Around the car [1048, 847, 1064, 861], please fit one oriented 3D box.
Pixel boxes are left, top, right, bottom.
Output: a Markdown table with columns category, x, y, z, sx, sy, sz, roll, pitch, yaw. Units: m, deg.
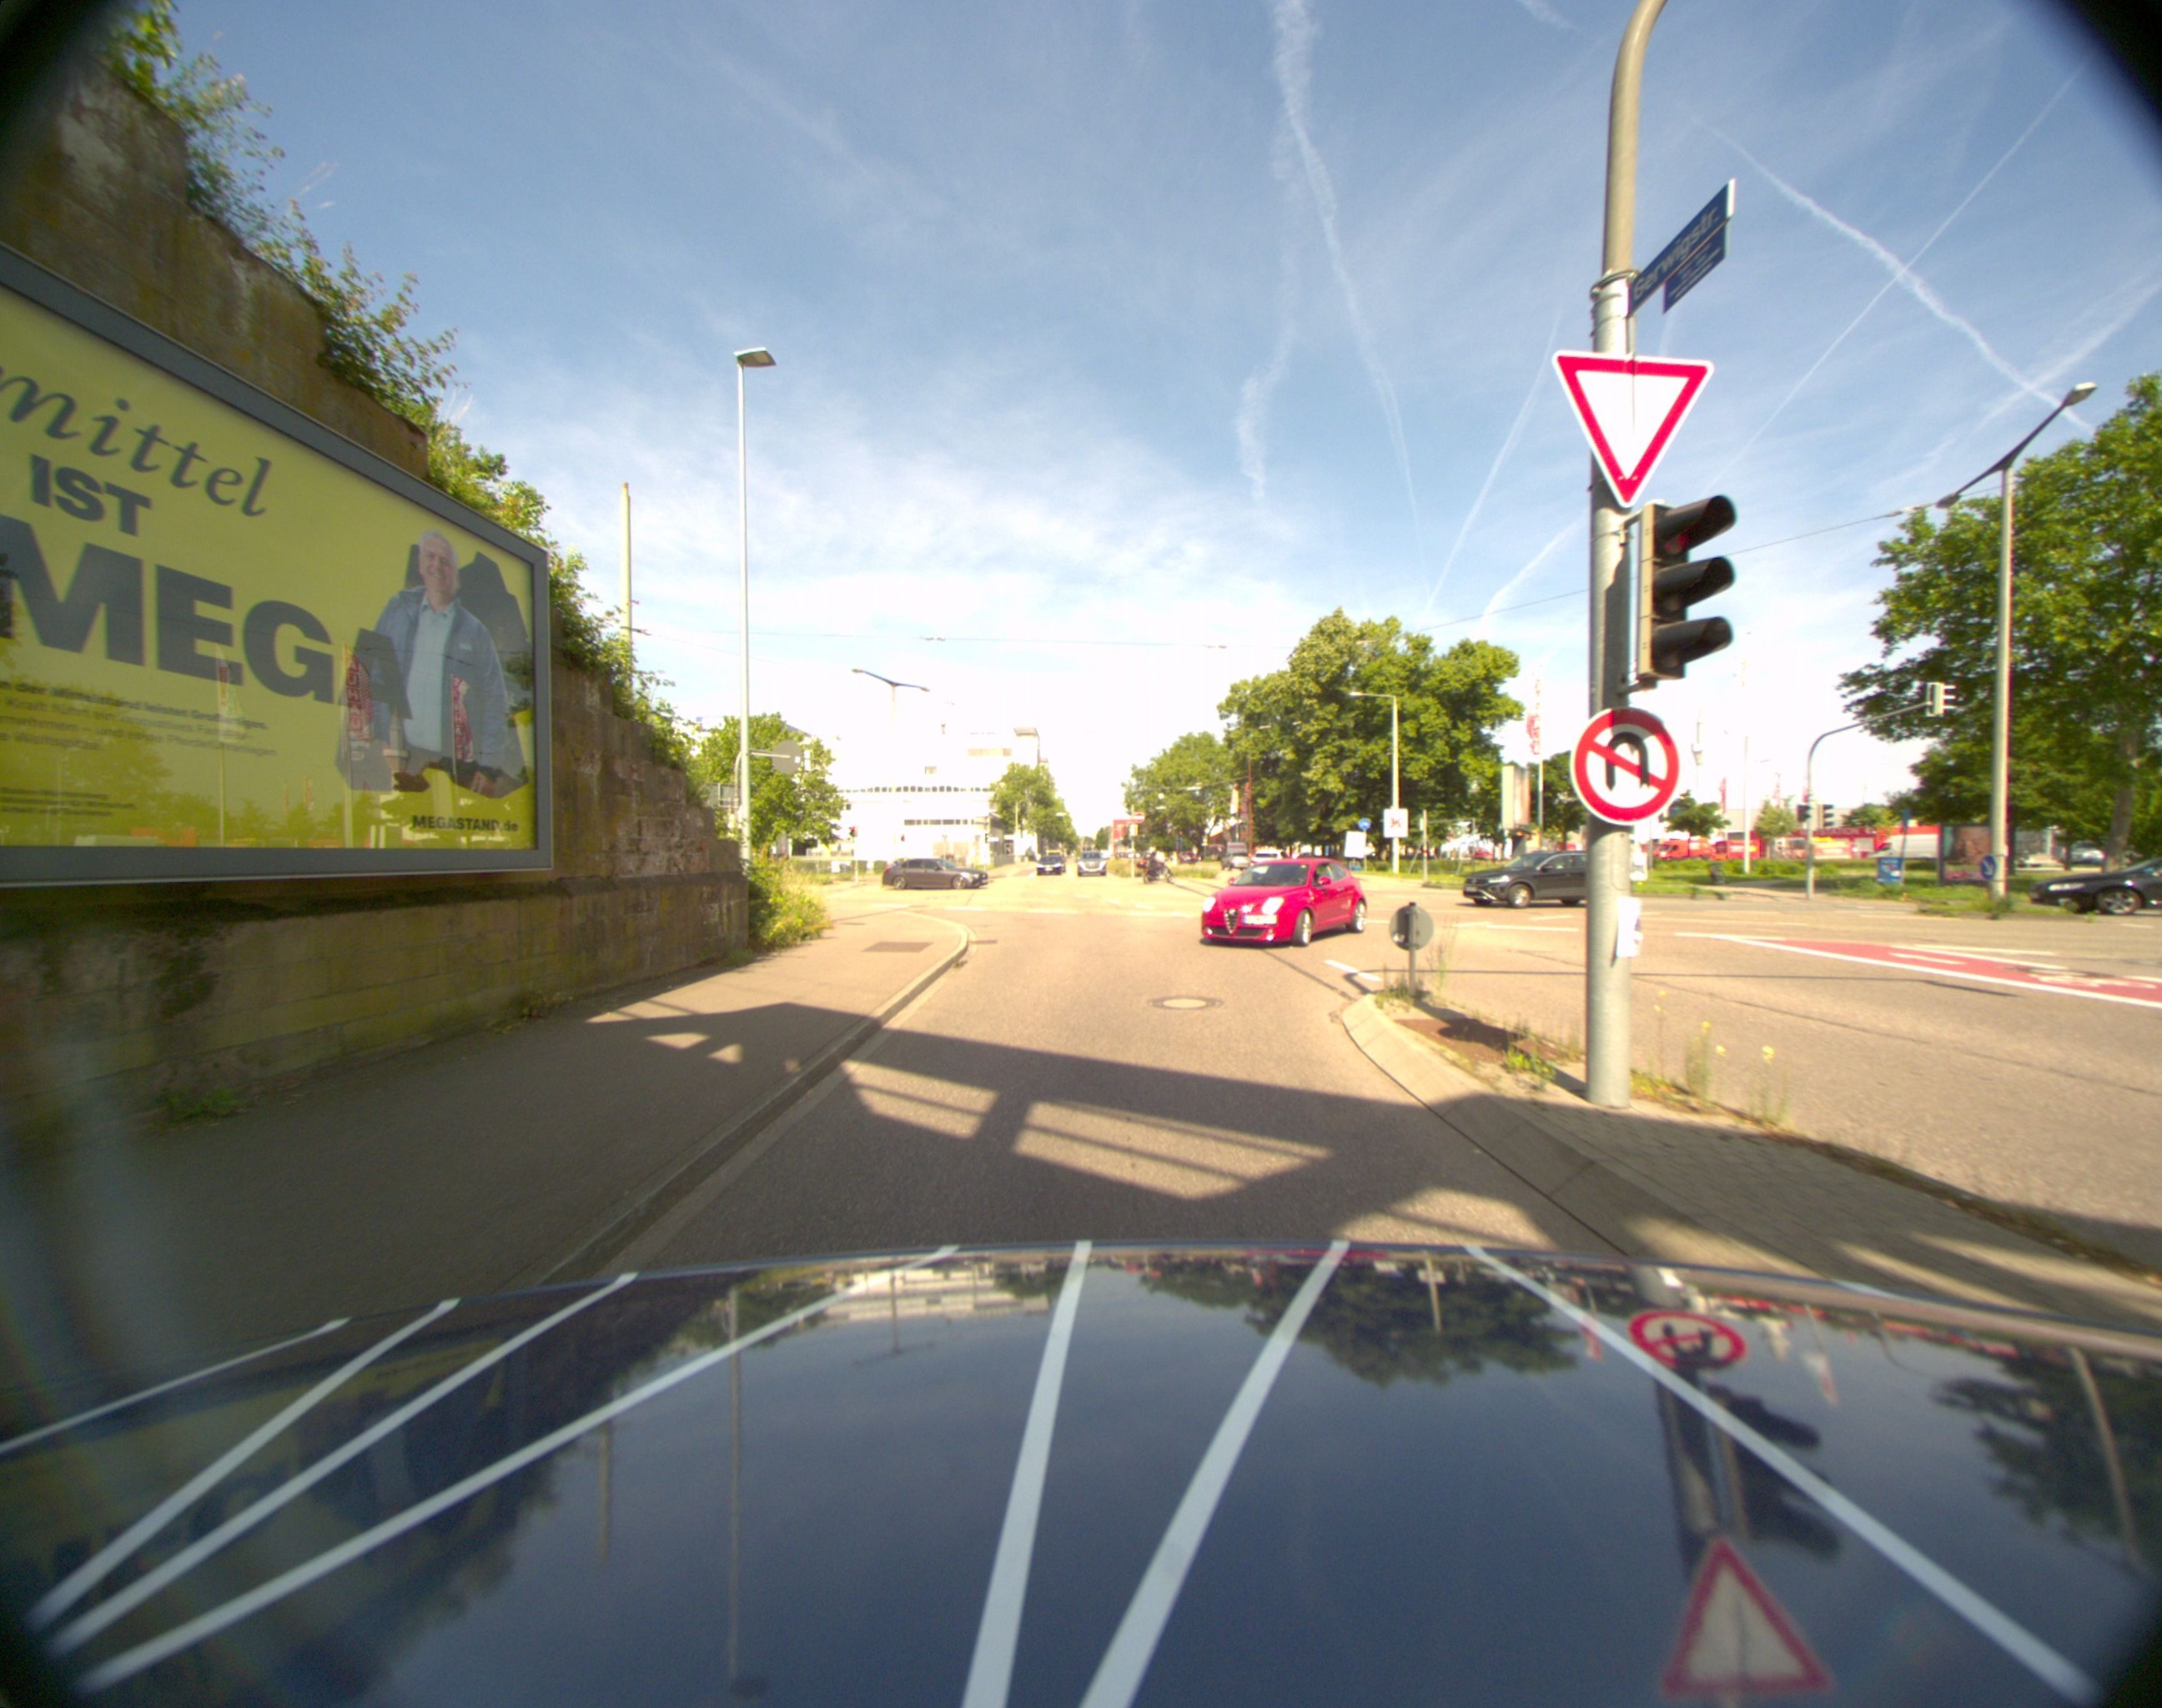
| category | x | y | z | sx | sy | sz | roll | pitch | yaw |
| --- | --- | --- | --- | --- | --- | --- | --- | --- | --- |
| car | -2.817 | -0.034 | 86.832 | 1.824 | 1.569 | 4.245 | 0 | 1 | -1 |

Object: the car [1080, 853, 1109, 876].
| category | x | y | z | sx | sy | sz | roll | pitch | yaw |
| --- | --- | --- | --- | --- | --- | --- | --- | --- | --- |
| car | 0.914 | 0.664 | 52.215 | 1.824 | 1.467 | 4.245 | 0 | 1 | -1 |

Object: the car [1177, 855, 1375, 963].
| category | x | y | z | sx | sy | sz | roll | pitch | yaw |
| --- | --- | --- | --- | --- | --- | --- | --- | --- | --- |
| car | 3.562 | 0.834 | 13.403 | 1.794 | 1.446 | 3.986 | -1 | 2 | 40 |

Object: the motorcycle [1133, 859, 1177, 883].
| category | x | y | z | sx | sy | sz | roll | pitch | yaw |
| --- | --- | --- | --- | --- | --- | --- | --- | --- | --- |
| motorcycle | 3.579 | 0.810 | 36.838 | 1.985 | 1.077 | 0.777 | -2 | 1 | -21 |

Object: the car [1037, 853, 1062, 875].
| category | x | y | z | sx | sy | sz | roll | pitch | yaw |
| --- | --- | --- | --- | --- | --- | --- | --- | --- | --- |
| car | -2.402 | 0.715 | 58.390 | 1.824 | 1.569 | 4.245 | 0 | 1 | -1 |

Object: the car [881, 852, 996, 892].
| category | x | y | z | sx | sy | sz | roll | pitch | yaw |
| --- | --- | --- | --- | --- | --- | --- | --- | --- | --- |
| car | -6.321 | 0.759 | 33.822 | 4.666 | 1.632 | 1.827 | 0 | 1 | 16 |

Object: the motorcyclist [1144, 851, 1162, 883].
| category | x | y | z | sx | sy | sz | roll | pitch | yaw |
| --- | --- | --- | --- | --- | --- | --- | --- | --- | --- |
| motorcyclist | 3.476 | 0.602 | 36.797 | 0.643 | 1.519 | 0.632 | -2 | 1 | -21 |

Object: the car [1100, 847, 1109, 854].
| category | x | y | z | sx | sy | sz | roll | pitch | yaw |
| --- | --- | --- | --- | --- | --- | --- | --- | --- | --- |
| car | 5.469 | -0.742 | 177.647 | 1.928 | 1.507 | 3.824 | -2 | 1 | -3 |

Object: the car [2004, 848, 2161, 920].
| category | x | y | z | sx | sy | sz | roll | pitch | yaw |
| --- | --- | --- | --- | --- | --- | --- | --- | --- | --- |
| car | 24.759 | 0.661 | 17.007 | 4.912 | 1.564 | 1.707 | 1 | 1 | 35 |

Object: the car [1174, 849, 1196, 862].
| category | x | y | z | sx | sy | sz | roll | pitch | yaw |
| --- | --- | --- | --- | --- | --- | --- | --- | --- | --- |
| car | 12.457 | 0.186 | 91.233 | 1.928 | 1.507 | 3.824 | -2 | 1 | -3 |

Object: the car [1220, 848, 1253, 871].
| category | x | y | z | sx | sy | sz | roll | pitch | yaw |
| --- | --- | --- | --- | --- | --- | --- | --- | --- | --- |
| car | 12.971 | 0.434 | 63.493 | 1.927 | 1.712 | 3.824 | -2 | 1 | 0 |

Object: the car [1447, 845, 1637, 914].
| category | x | y | z | sx | sy | sz | roll | pitch | yaw |
| --- | --- | --- | --- | --- | --- | --- | --- | --- | --- |
| car | 12.534 | 0.655 | 20.811 | 4.110 | 1.632 | 1.825 | -2 | 1 | -3 |

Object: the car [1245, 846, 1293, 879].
| category | x | y | z | sx | sy | sz | roll | pitch | yaw |
| --- | --- | --- | --- | --- | --- | --- | --- | --- | --- |
| car | 10.667 | 0.466 | 42.926 | 1.820 | 1.712 | 3.642 | -2 | 1 | 27 |
